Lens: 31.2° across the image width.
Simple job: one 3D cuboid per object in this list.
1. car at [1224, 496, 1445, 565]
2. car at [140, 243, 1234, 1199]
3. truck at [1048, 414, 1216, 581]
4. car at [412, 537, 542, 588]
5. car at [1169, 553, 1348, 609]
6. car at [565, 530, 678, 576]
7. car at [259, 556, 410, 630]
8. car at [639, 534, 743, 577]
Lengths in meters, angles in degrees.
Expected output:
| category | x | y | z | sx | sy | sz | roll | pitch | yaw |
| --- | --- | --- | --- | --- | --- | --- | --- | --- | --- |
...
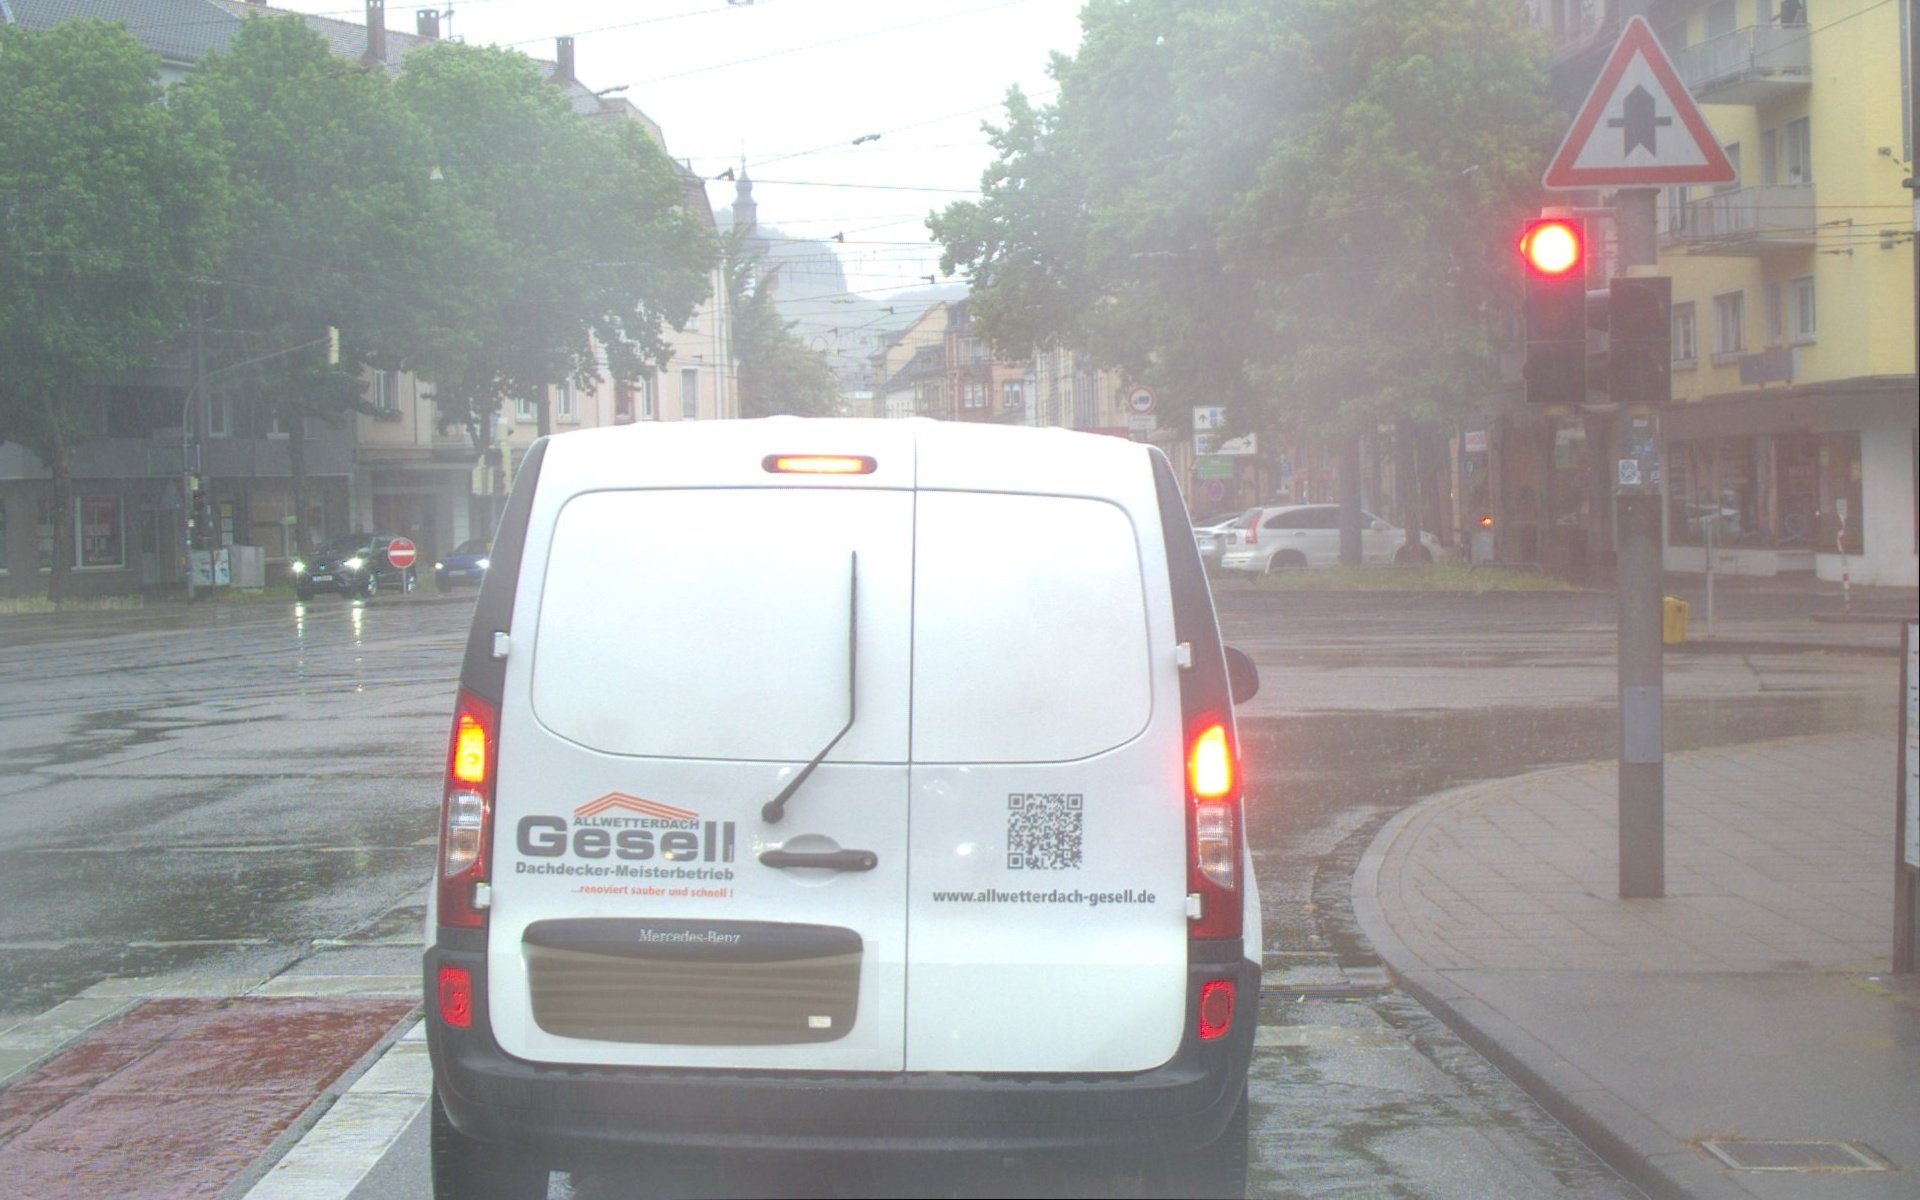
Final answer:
| category | x | y | z | sx | sy | sz | roll | pitch | yaw |
| --- | --- | --- | --- | --- | --- | --- | --- | --- | --- |
| car | 7.498 | -1.404 | 68.933 | 4.165 | 1.334 | 1.521 | -1 | 2 | -7 |
| car | -0.552 | 0.293 | 9.120 | 2.100 | 2.005 | 4.963 | 0 | 1 | -1 |
| truck | 5.793 | -3.233 | 112.292 | 3.471 | 5.070 | 15.300 | 0 | 1 | 11 |
| car | -12.791 | -1.004 | 91.289 | 1.952 | 1.235 | 3.997 | 0 | 2 | 16 |
| car | 6.147 | -0.400 | 71.015 | 3.441 | 1.126 | 1.472 | 0 | 1 | -8 |
| car | -9.990 | -1.399 | 101.708 | 1.952 | 1.235 | 3.997 | 0 | 2 | 16 |
| car | -14.939 | -0.186 | 82.354 | 1.952 | 1.602 | 3.997 | 0 | 2 | 16 |
| car | -8.432 | -1.397 | 108.041 | 1.952 | 1.235 | 3.997 | 0 | 2 | 16 |
